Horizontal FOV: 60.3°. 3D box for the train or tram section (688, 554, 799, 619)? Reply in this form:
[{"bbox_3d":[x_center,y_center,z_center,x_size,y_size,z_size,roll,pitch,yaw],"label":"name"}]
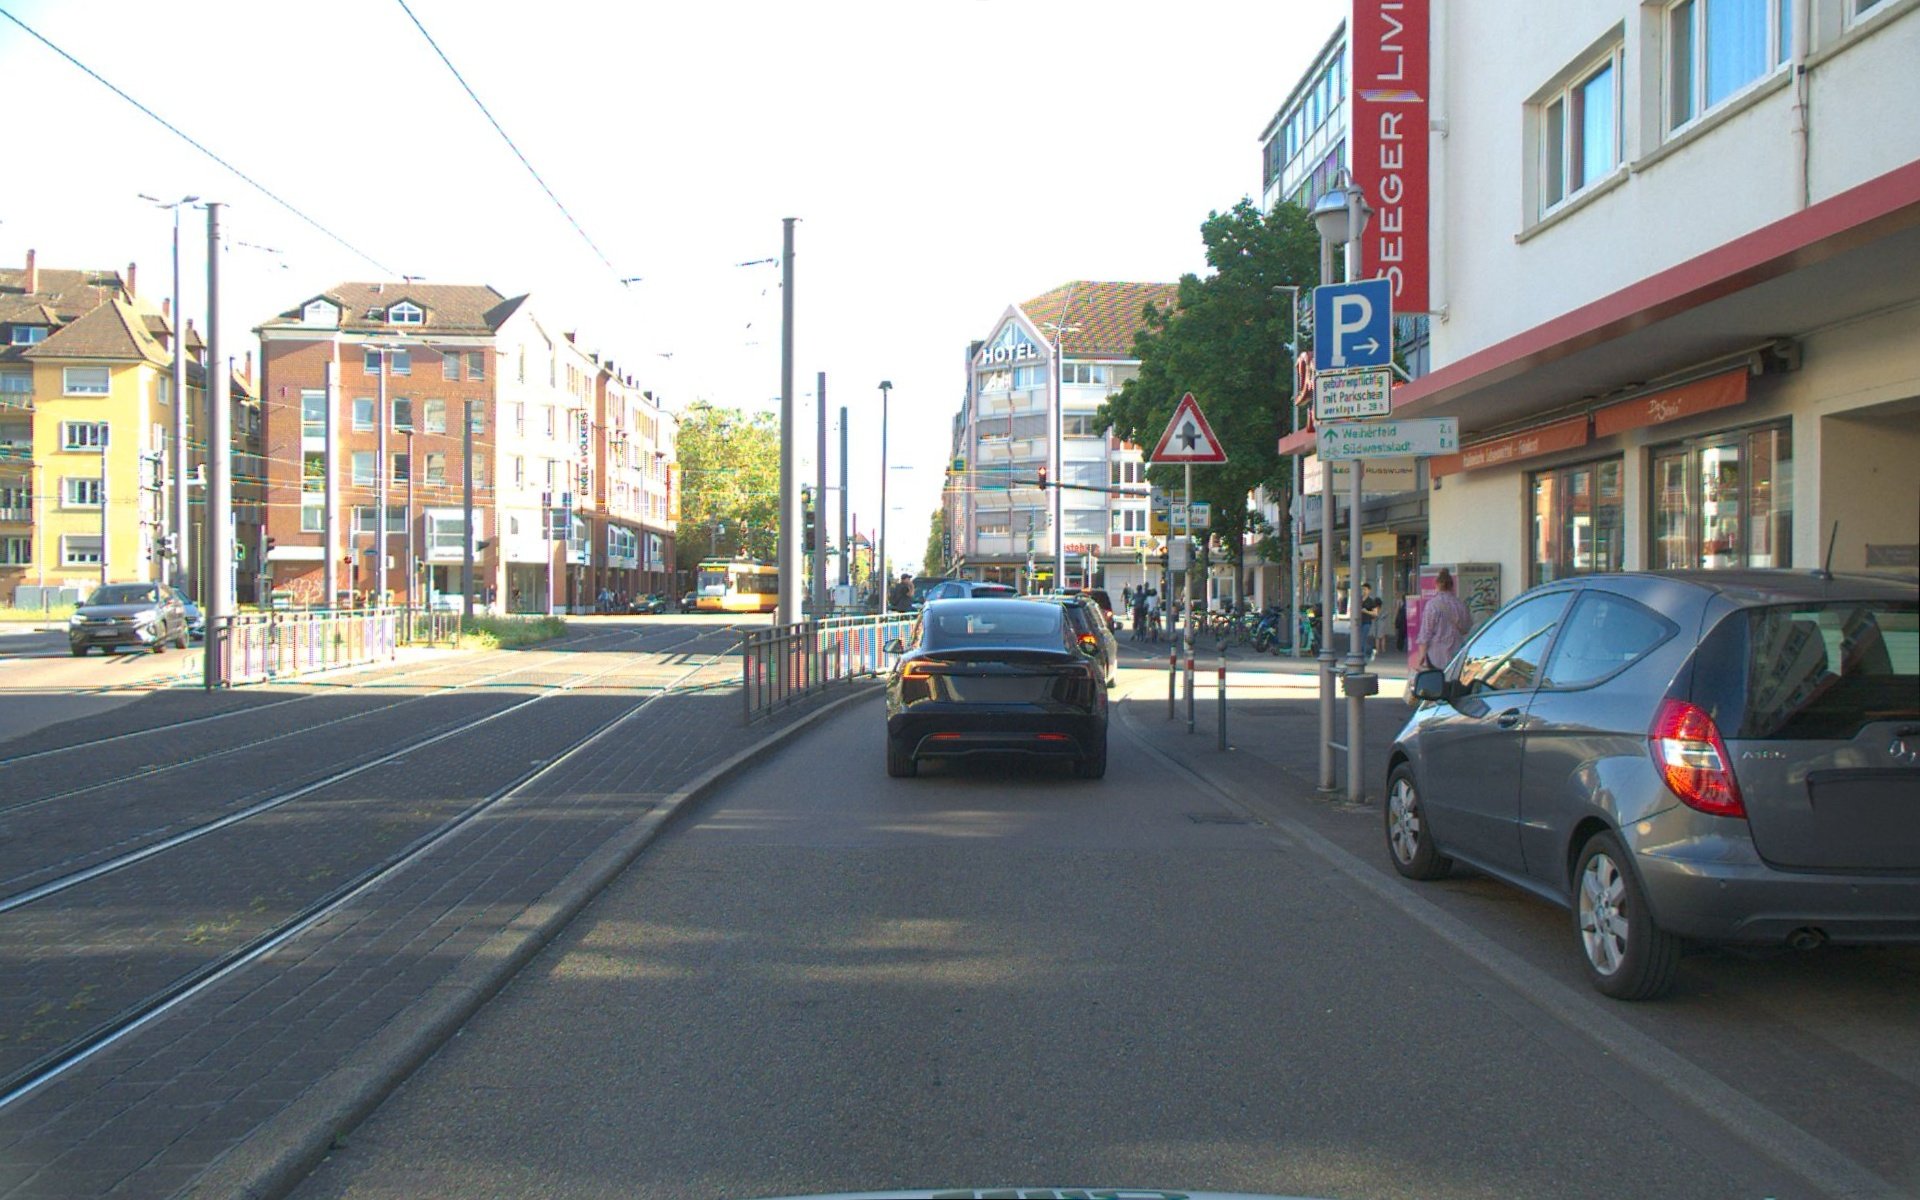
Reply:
[{"bbox_3d":[-13.552,-0.766,105.300,2.617,3.780,14.204,2,0,11],"label":"train or tram section"}]

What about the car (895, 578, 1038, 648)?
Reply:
[{"bbox_3d":[0.096,0.277,39.871,1.761,1.545,4.183,2,0,-26],"label":"car"}]

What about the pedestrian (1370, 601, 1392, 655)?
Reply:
[{"bbox_3d":[10.405,0.687,40.864,0.411,1.303,0.531,0,0,0],"label":"pedestrian"}]

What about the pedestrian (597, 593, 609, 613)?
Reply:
[{"bbox_3d":[-24.150,0.193,111.954,0.697,1.365,0.666,0,0,-1],"label":"pedestrian"}]

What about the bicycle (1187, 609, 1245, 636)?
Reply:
[{"bbox_3d":[8.651,0.756,55.869,1.885,0.906,0.526,1,0,0],"label":"bicycle"}]

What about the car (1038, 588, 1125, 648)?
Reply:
[{"bbox_3d":[3.378,0.482,46.581,1.789,1.545,3.644,2,0,-6],"label":"car"}]

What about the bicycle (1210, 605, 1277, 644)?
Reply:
[{"bbox_3d":[8.377,0.721,48.864,1.885,1.116,0.554,1,0,0],"label":"bicycle"}]

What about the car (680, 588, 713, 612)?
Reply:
[{"bbox_3d":[-19.077,-0.012,119.897,1.715,1.680,3.999,2,0,-1],"label":"car"}]

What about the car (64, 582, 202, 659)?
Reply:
[{"bbox_3d":[-17.520,0.410,35.245,1.735,1.538,4.264,0,0,-14],"label":"car"}]

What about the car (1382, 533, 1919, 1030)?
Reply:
[{"bbox_3d":[3.245,0.587,7.420,1.710,1.660,3.648,-1,0,-1],"label":"car"}]

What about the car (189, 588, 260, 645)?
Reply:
[{"bbox_3d":[-22.170,0.462,49.983,1.757,1.595,4.264,-1,1,-21],"label":"car"}]

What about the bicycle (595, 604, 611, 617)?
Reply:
[{"bbox_3d":[-24.151,0.693,112.026,0.688,0.869,2.053,0,0,-1],"label":"bicycle"}]

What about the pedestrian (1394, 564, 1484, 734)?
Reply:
[{"bbox_3d":[5.031,0.507,17.355,0.800,1.712,0.714,2,0,22],"label":"pedestrian"}]

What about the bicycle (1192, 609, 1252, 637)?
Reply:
[{"bbox_3d":[8.675,0.748,54.844,1.885,0.906,0.526,1,0,0],"label":"bicycle"}]

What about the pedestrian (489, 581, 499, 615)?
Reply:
[{"bbox_3d":[-28.787,-0.116,102.138,0.555,2.049,0.349,2,-1,-16],"label":"pedestrian"}]

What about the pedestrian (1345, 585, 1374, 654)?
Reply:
[{"bbox_3d":[9.827,0.476,40.683,0.583,1.670,0.466,-1,0,0],"label":"pedestrian"}]

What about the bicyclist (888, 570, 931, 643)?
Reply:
[{"bbox_3d":[-1.088,0.136,35.746,0.821,1.526,0.559,2,0,-9],"label":"bicyclist"}]

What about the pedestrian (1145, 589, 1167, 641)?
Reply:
[{"bbox_3d":[6.244,0.468,52.757,0.616,1.642,0.643,1,0,2],"label":"pedestrian"}]

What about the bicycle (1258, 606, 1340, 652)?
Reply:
[{"bbox_3d":[8.730,0.750,42.641,2.009,1.141,0.483,1,0,0],"label":"bicycle"}]

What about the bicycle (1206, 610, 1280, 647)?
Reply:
[{"bbox_3d":[8.012,0.798,46.794,2.009,0.999,0.483,1,0,0],"label":"bicycle"}]

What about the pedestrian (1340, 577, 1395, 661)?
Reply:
[{"bbox_3d":[8.817,0.416,35.787,0.992,1.772,0.524,2,-1,-26],"label":"pedestrian"}]

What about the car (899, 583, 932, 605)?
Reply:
[{"bbox_3d":[-3.005,-0.391,111.568,1.952,1.445,4.001,2,0,2],"label":"car"}]

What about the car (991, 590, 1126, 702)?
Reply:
[{"bbox_3d":[1.514,0.601,24.177,1.618,1.443,4.003,2,1,8],"label":"car"}]

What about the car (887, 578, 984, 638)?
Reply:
[{"bbox_3d":[-0.743,0.199,46.330,1.793,1.545,4.203,2,0,-14],"label":"car"}]

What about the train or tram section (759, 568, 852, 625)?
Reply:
[{"bbox_3d":[-10.992,-0.195,119.860,2.580,3.783,15.399,2,0,10],"label":"train or tram section"}]

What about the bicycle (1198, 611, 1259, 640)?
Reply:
[{"bbox_3d":[8.737,0.816,53.775,1.885,0.903,0.526,1,0,0],"label":"bicycle"}]

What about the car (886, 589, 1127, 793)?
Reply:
[{"bbox_3d":[0.281,0.698,14.498,1.812,1.510,3.785,2,0,-2],"label":"car"}]

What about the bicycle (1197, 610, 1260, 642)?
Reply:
[{"bbox_3d":[8.394,0.812,51.752,1.885,0.967,0.526,1,0,0],"label":"bicycle"}]

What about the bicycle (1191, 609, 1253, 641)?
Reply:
[{"bbox_3d":[8.343,0.798,52.767,1.885,0.967,0.526,1,0,0],"label":"bicycle"}]

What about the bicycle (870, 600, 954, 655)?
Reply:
[{"bbox_3d":[-1.045,0.593,35.774,1.696,1.107,0.677,2,0,-9],"label":"bicycle"}]

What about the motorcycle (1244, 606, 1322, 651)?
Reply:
[{"bbox_3d":[8.729,0.772,44.700,1.951,1.147,0.596,2,0,-1],"label":"motorcycle"}]

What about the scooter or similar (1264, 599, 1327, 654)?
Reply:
[{"bbox_3d":[8.170,0.650,40.253,1.392,1.340,0.690,1,-2,-27],"label":"scooter or similar"}]

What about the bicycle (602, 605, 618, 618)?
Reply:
[{"bbox_3d":[-24.225,0.791,114.540,0.688,0.869,2.053,0,0,-1],"label":"bicycle"}]

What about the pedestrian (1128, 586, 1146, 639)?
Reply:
[{"bbox_3d":[5.864,0.412,54.810,0.550,1.712,0.750,1,0,4],"label":"pedestrian"}]

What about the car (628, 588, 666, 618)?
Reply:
[{"bbox_3d":[-22.077,0.187,116.803,1.953,2.049,3.999,0,0,-1],"label":"car"}]

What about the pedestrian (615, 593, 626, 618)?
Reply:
[{"bbox_3d":[-24.294,0.394,118.513,0.698,1.696,0.563,2,0,-10],"label":"pedestrian"}]

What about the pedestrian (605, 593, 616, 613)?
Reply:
[{"bbox_3d":[-24.222,0.208,114.611,0.682,1.331,0.564,0,0,-2],"label":"pedestrian"}]
